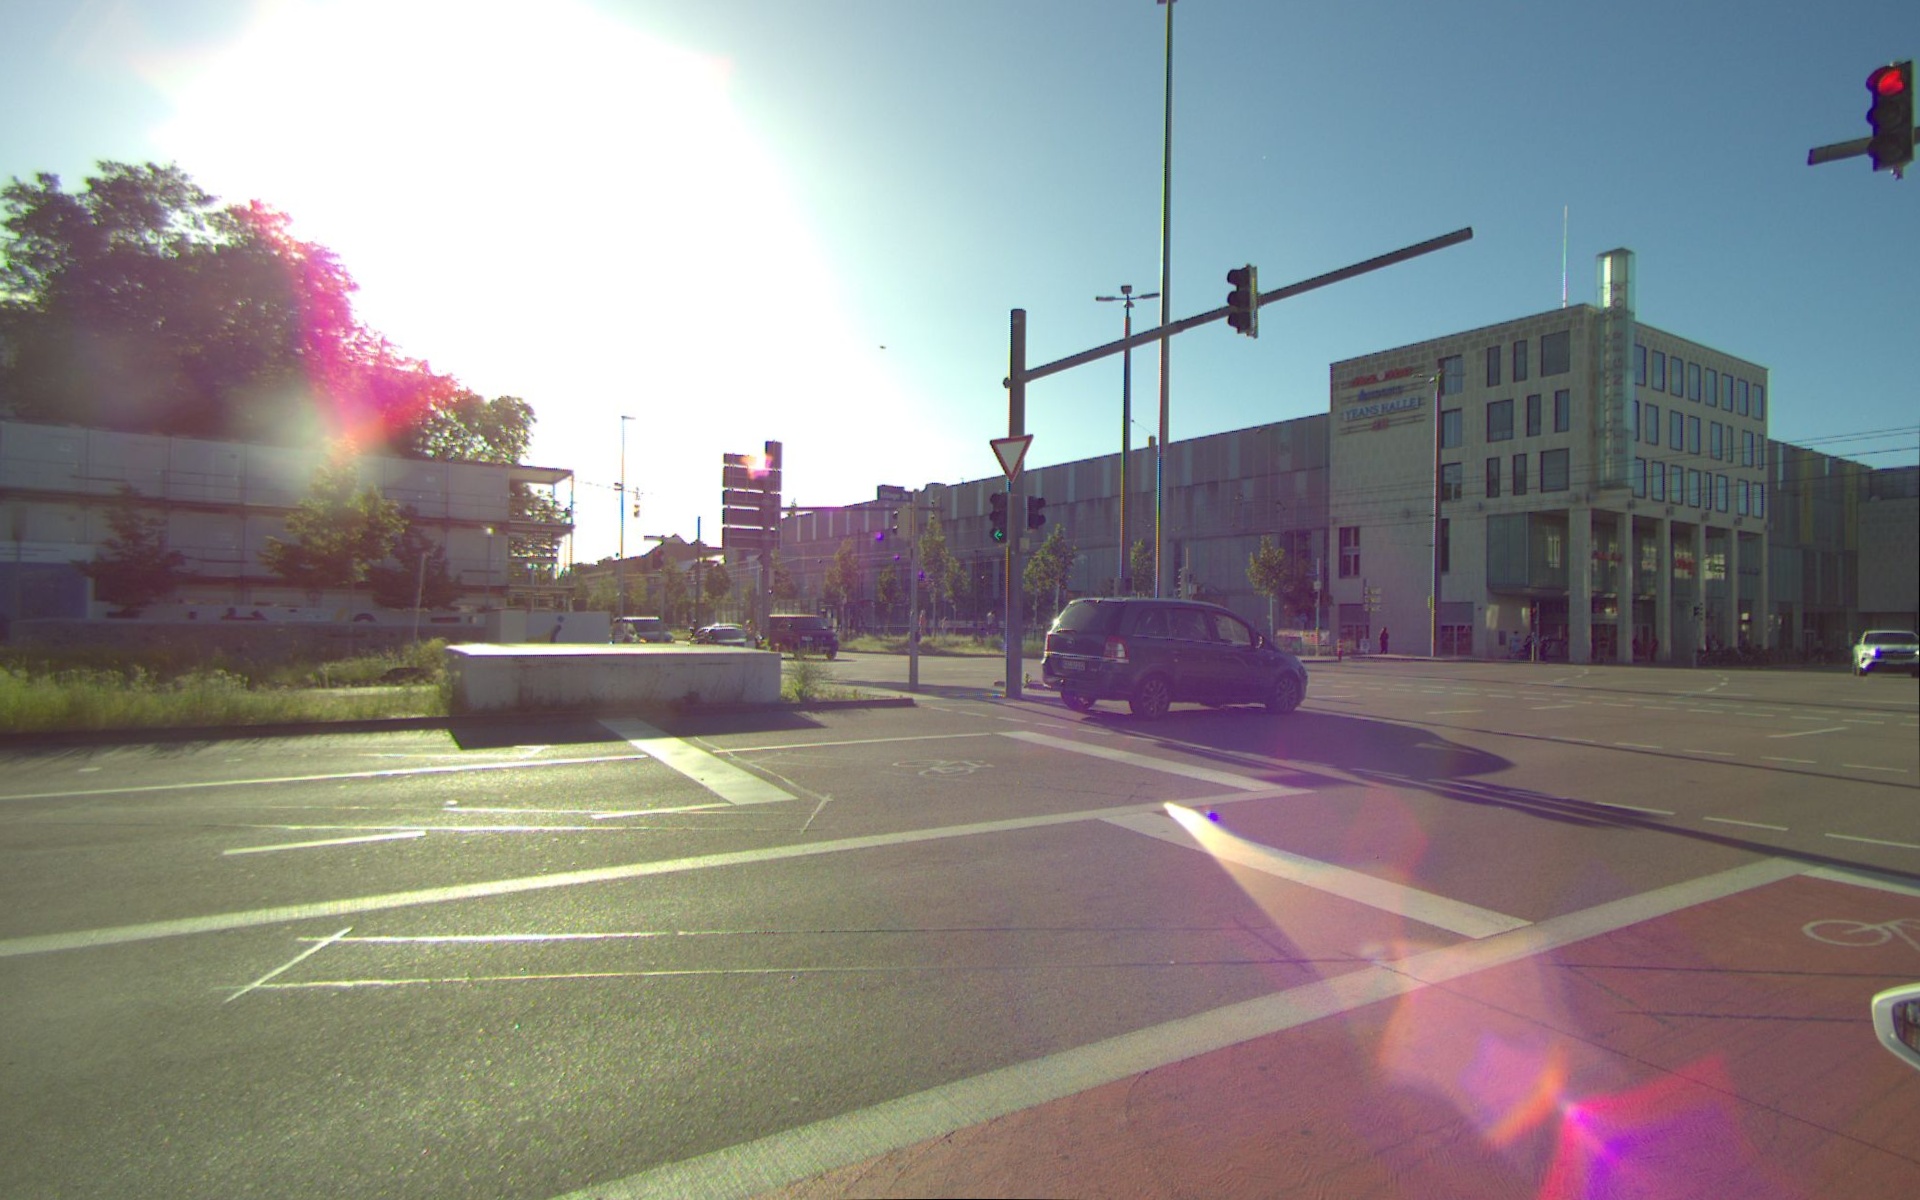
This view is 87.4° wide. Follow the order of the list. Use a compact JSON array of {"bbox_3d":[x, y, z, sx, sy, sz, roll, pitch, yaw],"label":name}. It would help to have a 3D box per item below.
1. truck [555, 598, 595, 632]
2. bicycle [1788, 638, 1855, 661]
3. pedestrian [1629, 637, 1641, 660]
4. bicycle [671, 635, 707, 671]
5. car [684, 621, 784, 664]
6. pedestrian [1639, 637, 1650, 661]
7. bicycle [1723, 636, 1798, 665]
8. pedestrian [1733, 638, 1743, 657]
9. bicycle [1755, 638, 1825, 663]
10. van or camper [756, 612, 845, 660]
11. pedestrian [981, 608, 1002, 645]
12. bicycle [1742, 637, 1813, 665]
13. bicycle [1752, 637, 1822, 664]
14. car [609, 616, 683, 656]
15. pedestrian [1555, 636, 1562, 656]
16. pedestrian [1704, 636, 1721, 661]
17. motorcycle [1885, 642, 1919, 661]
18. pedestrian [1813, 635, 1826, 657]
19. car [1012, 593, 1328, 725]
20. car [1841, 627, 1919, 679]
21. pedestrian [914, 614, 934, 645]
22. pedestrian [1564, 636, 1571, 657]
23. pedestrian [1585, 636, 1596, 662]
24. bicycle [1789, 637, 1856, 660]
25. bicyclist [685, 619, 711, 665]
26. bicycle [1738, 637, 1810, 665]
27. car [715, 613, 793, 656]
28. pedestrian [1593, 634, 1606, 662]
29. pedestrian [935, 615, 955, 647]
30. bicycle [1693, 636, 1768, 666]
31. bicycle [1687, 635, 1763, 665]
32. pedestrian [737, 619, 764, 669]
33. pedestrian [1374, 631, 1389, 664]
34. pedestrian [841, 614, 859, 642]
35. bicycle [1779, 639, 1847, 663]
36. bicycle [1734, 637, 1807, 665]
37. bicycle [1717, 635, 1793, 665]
[{"bbox_3d":[-33.481,1.330,87.243,1.979,2.875,6.293,1,-2,-33],"label":"truck"},{"bbox_3d":[60.380,3.434,70.465,0.979,1.547,3.462,2,-2,-40],"label":"bicycle"},{"bbox_3d":[44.289,3.188,65.922,0.508,1.530,0.508,1,-1,-34],"label":"pedestrian"},{"bbox_3d":[-16.063,3.129,59.553,1.007,2.040,3.472,1,-2,-33],"label":"bicycle"},{"bbox_3d":[-9.399,1.705,41.506,2.313,1.671,4.821,1,-2,-37],"label":"car"},{"bbox_3d":[44.927,3.212,65.939,0.508,1.530,0.479,1,-1,-34],"label":"pedestrian"},{"bbox_3d":[49.142,3.080,61.734,1.107,1.719,3.465,1,-2,-38],"label":"bicycle"},{"bbox_3d":[59.141,3.623,76.363,0.630,1.454,0.474,0,-1,38],"label":"pedestrian"},{"bbox_3d":[55.254,3.329,66.915,0.979,1.547,3.462,2,-2,-40],"label":"bicycle"},{"bbox_3d":[-7.290,1.595,45.626,1.981,2.040,4.821,1,-2,-36],"label":"van or camper"},{"bbox_3d":[1.583,1.337,50.587,0.788,1.855,0.706,1,-1,-37],"label":"pedestrian"},{"bbox_3d":[52.857,3.259,64.957,0.979,1.719,3.462,1,-2,-40],"label":"bicycle"},{"bbox_3d":[54.503,3.321,66.247,0.979,1.719,3.462,1,-2,-40],"label":"bicycle"},{"bbox_3d":[-15.316,1.718,48.797,1.981,1.849,4.821,1,-2,-36],"label":"car"},{"bbox_3d":[42.457,3.266,71.252,0.381,1.445,0.501,0,-1,37],"label":"pedestrian"},{"bbox_3d":[50.215,3.240,66.992,0.689,1.664,0.777,1,-1,-41],"label":"pedestrian"},{"bbox_3d":[70.746,3.853,75.082,0.713,1.335,2.260,1,-2,-34],"label":"motorcycle"},{"bbox_3d":[65.433,3.475,76.487,0.689,1.664,0.648,1,-1,-38],"label":"pedestrian"},{"bbox_3d":[3.146,0.786,14.749,4.434,1.629,1.981,1,1,-34],"label":"car"},{"bbox_3d":[32.425,1.803,35.285,1.969,1.682,4.387,-1,-2,39],"label":"car"},{"bbox_3d":[-2.154,1.772,59.941,0.889,1.855,0.787,1,-1,-35],"label":"pedestrian"},{"bbox_3d":[42.924,3.272,70.973,0.381,1.431,0.436,0,-1,34],"label":"pedestrian"},{"bbox_3d":[40.050,3.118,63.794,0.493,1.606,0.426,1,-1,-34],"label":"pedestrian"},{"bbox_3d":[61.186,3.451,71.297,0.979,1.547,3.462,2,-2,-40],"label":"bicycle"},{"bbox_3d":[-15.221,2.424,58.352,1.007,2.677,1.610,1,-1,-34],"label":"bicyclist"},{"bbox_3d":[51.944,3.227,64.153,0.979,1.719,3.462,1,-2,-40],"label":"bicycle"},{"bbox_3d":[-10.392,1.697,50.412,1.981,2.040,4.821,1,-2,-36],"label":"car"},{"bbox_3d":[37.808,2.823,59.376,0.534,1.664,0.547,-1,-1,42],"label":"pedestrian"},{"bbox_3d":[-0.868,1.823,59.561,0.889,1.855,0.787,1,-1,-35],"label":"pedestrian"},{"bbox_3d":[46.627,3.053,60.833,1.107,1.719,3.465,1,-2,-38],"label":"bicycle"},{"bbox_3d":[45.697,2.977,60.027,1.107,1.719,3.465,1,-2,-38],"label":"bicycle"},{"bbox_3d":[-7.075,1.474,33.908,0.619,1.674,0.935,1,-1,-30],"label":"pedestrian"},{"bbox_3d":[21.852,2.445,52.086,0.541,1.716,0.523,1,-1,-31],"label":"pedestrian"},{"bbox_3d":[-7.212,1.825,65.756,0.889,1.855,0.787,1,-1,-35],"label":"pedestrian"},{"bbox_3d":[58.872,3.480,69.384,0.979,1.547,3.462,2,-2,-40],"label":"bicycle"},{"bbox_3d":[51.118,3.190,63.419,0.979,1.719,3.462,1,-2,-40],"label":"bicycle"},{"bbox_3d":[48.213,3.013,60.933,1.107,1.719,3.465,1,-2,-38],"label":"bicycle"}]
